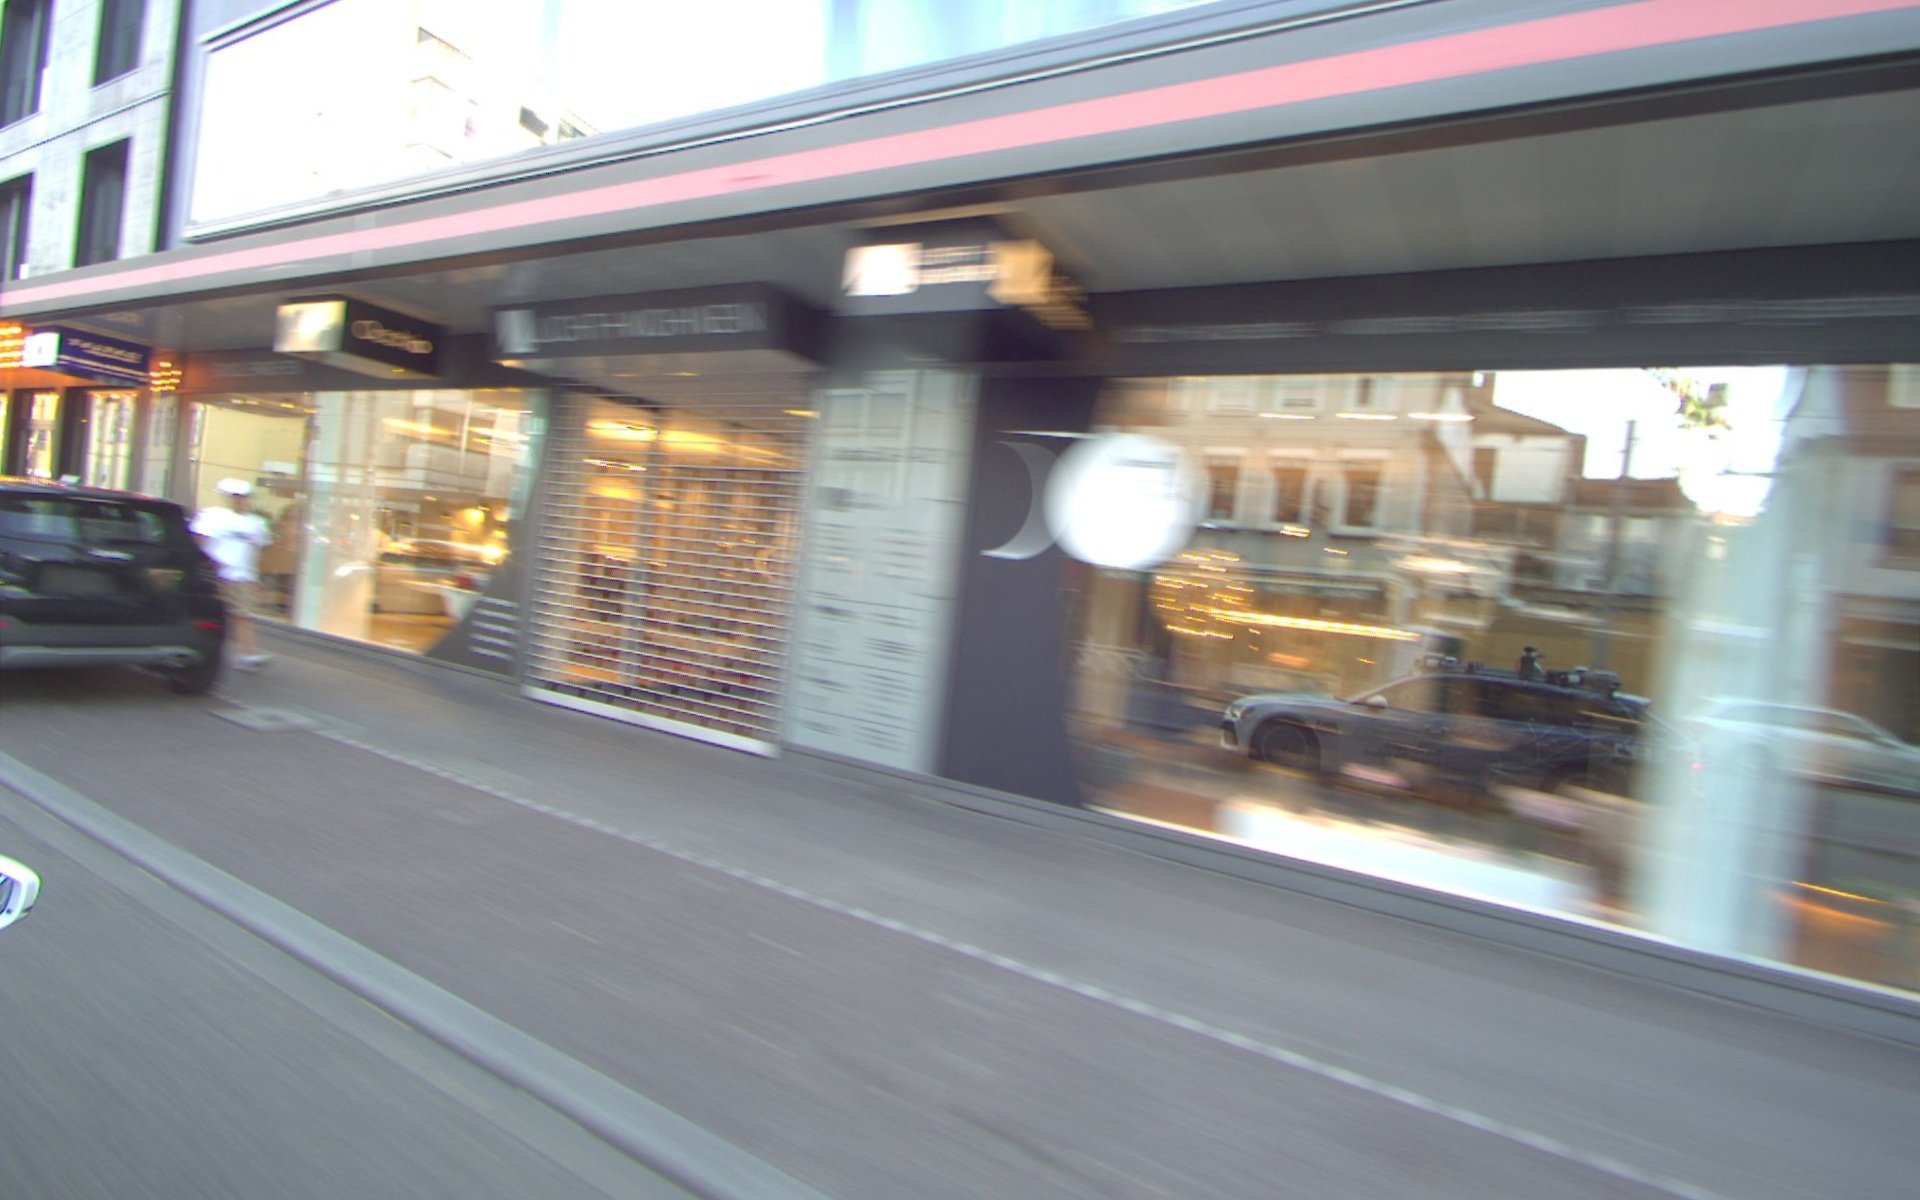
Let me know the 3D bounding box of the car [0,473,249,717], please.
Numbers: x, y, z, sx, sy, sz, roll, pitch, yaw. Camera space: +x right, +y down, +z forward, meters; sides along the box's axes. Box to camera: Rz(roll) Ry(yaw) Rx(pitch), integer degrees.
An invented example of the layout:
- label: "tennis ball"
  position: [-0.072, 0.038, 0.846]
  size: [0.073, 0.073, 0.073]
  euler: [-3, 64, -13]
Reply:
- label: "car"
  position: [-7.446, -0.190, 7.854]
  size: [3.821, 1.557, 1.656]
  euler: [7, 1, 31]

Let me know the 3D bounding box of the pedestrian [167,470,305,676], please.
- label: "pedestrian"
  position: [-6.626, -0.242, 9.209]
  size: [0.807, 1.763, 0.688]
  euler: [7, 3, 33]
